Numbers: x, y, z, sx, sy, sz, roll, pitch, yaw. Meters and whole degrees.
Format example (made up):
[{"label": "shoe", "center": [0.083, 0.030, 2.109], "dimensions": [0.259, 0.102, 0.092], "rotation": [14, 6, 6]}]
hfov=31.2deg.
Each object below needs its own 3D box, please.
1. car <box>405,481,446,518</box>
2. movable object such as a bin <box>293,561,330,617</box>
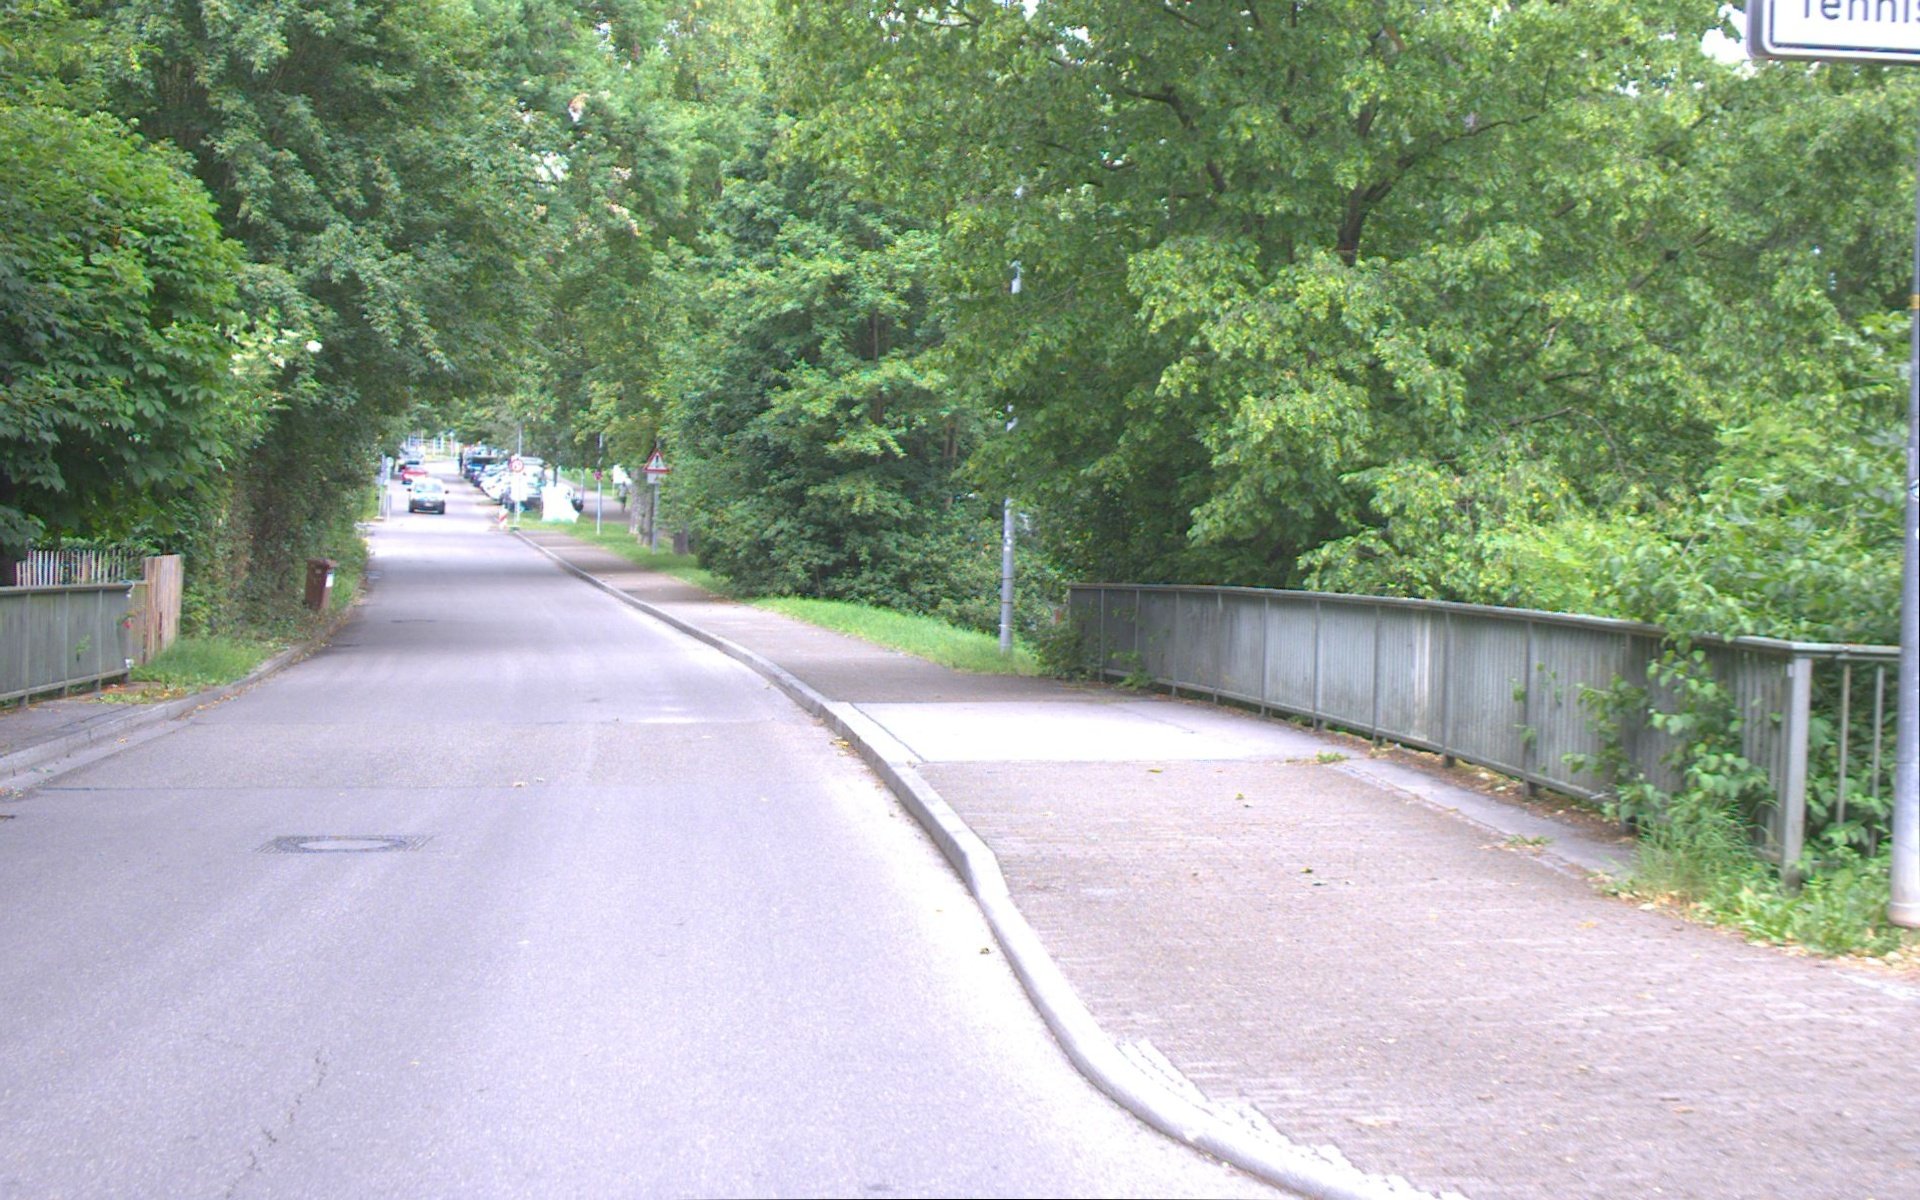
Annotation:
[{"label": "car", "center": [-27.502, -5.164, 176.969], "dimensions": [1.993, 1.766, 4.001], "rotation": [1, 0, -8]}, {"label": "movable object such as a bin", "center": [-11.181, -0.195, 59.277], "dimensions": [0.590, 0.954, 0.470], "rotation": [1, 0, -8]}]
